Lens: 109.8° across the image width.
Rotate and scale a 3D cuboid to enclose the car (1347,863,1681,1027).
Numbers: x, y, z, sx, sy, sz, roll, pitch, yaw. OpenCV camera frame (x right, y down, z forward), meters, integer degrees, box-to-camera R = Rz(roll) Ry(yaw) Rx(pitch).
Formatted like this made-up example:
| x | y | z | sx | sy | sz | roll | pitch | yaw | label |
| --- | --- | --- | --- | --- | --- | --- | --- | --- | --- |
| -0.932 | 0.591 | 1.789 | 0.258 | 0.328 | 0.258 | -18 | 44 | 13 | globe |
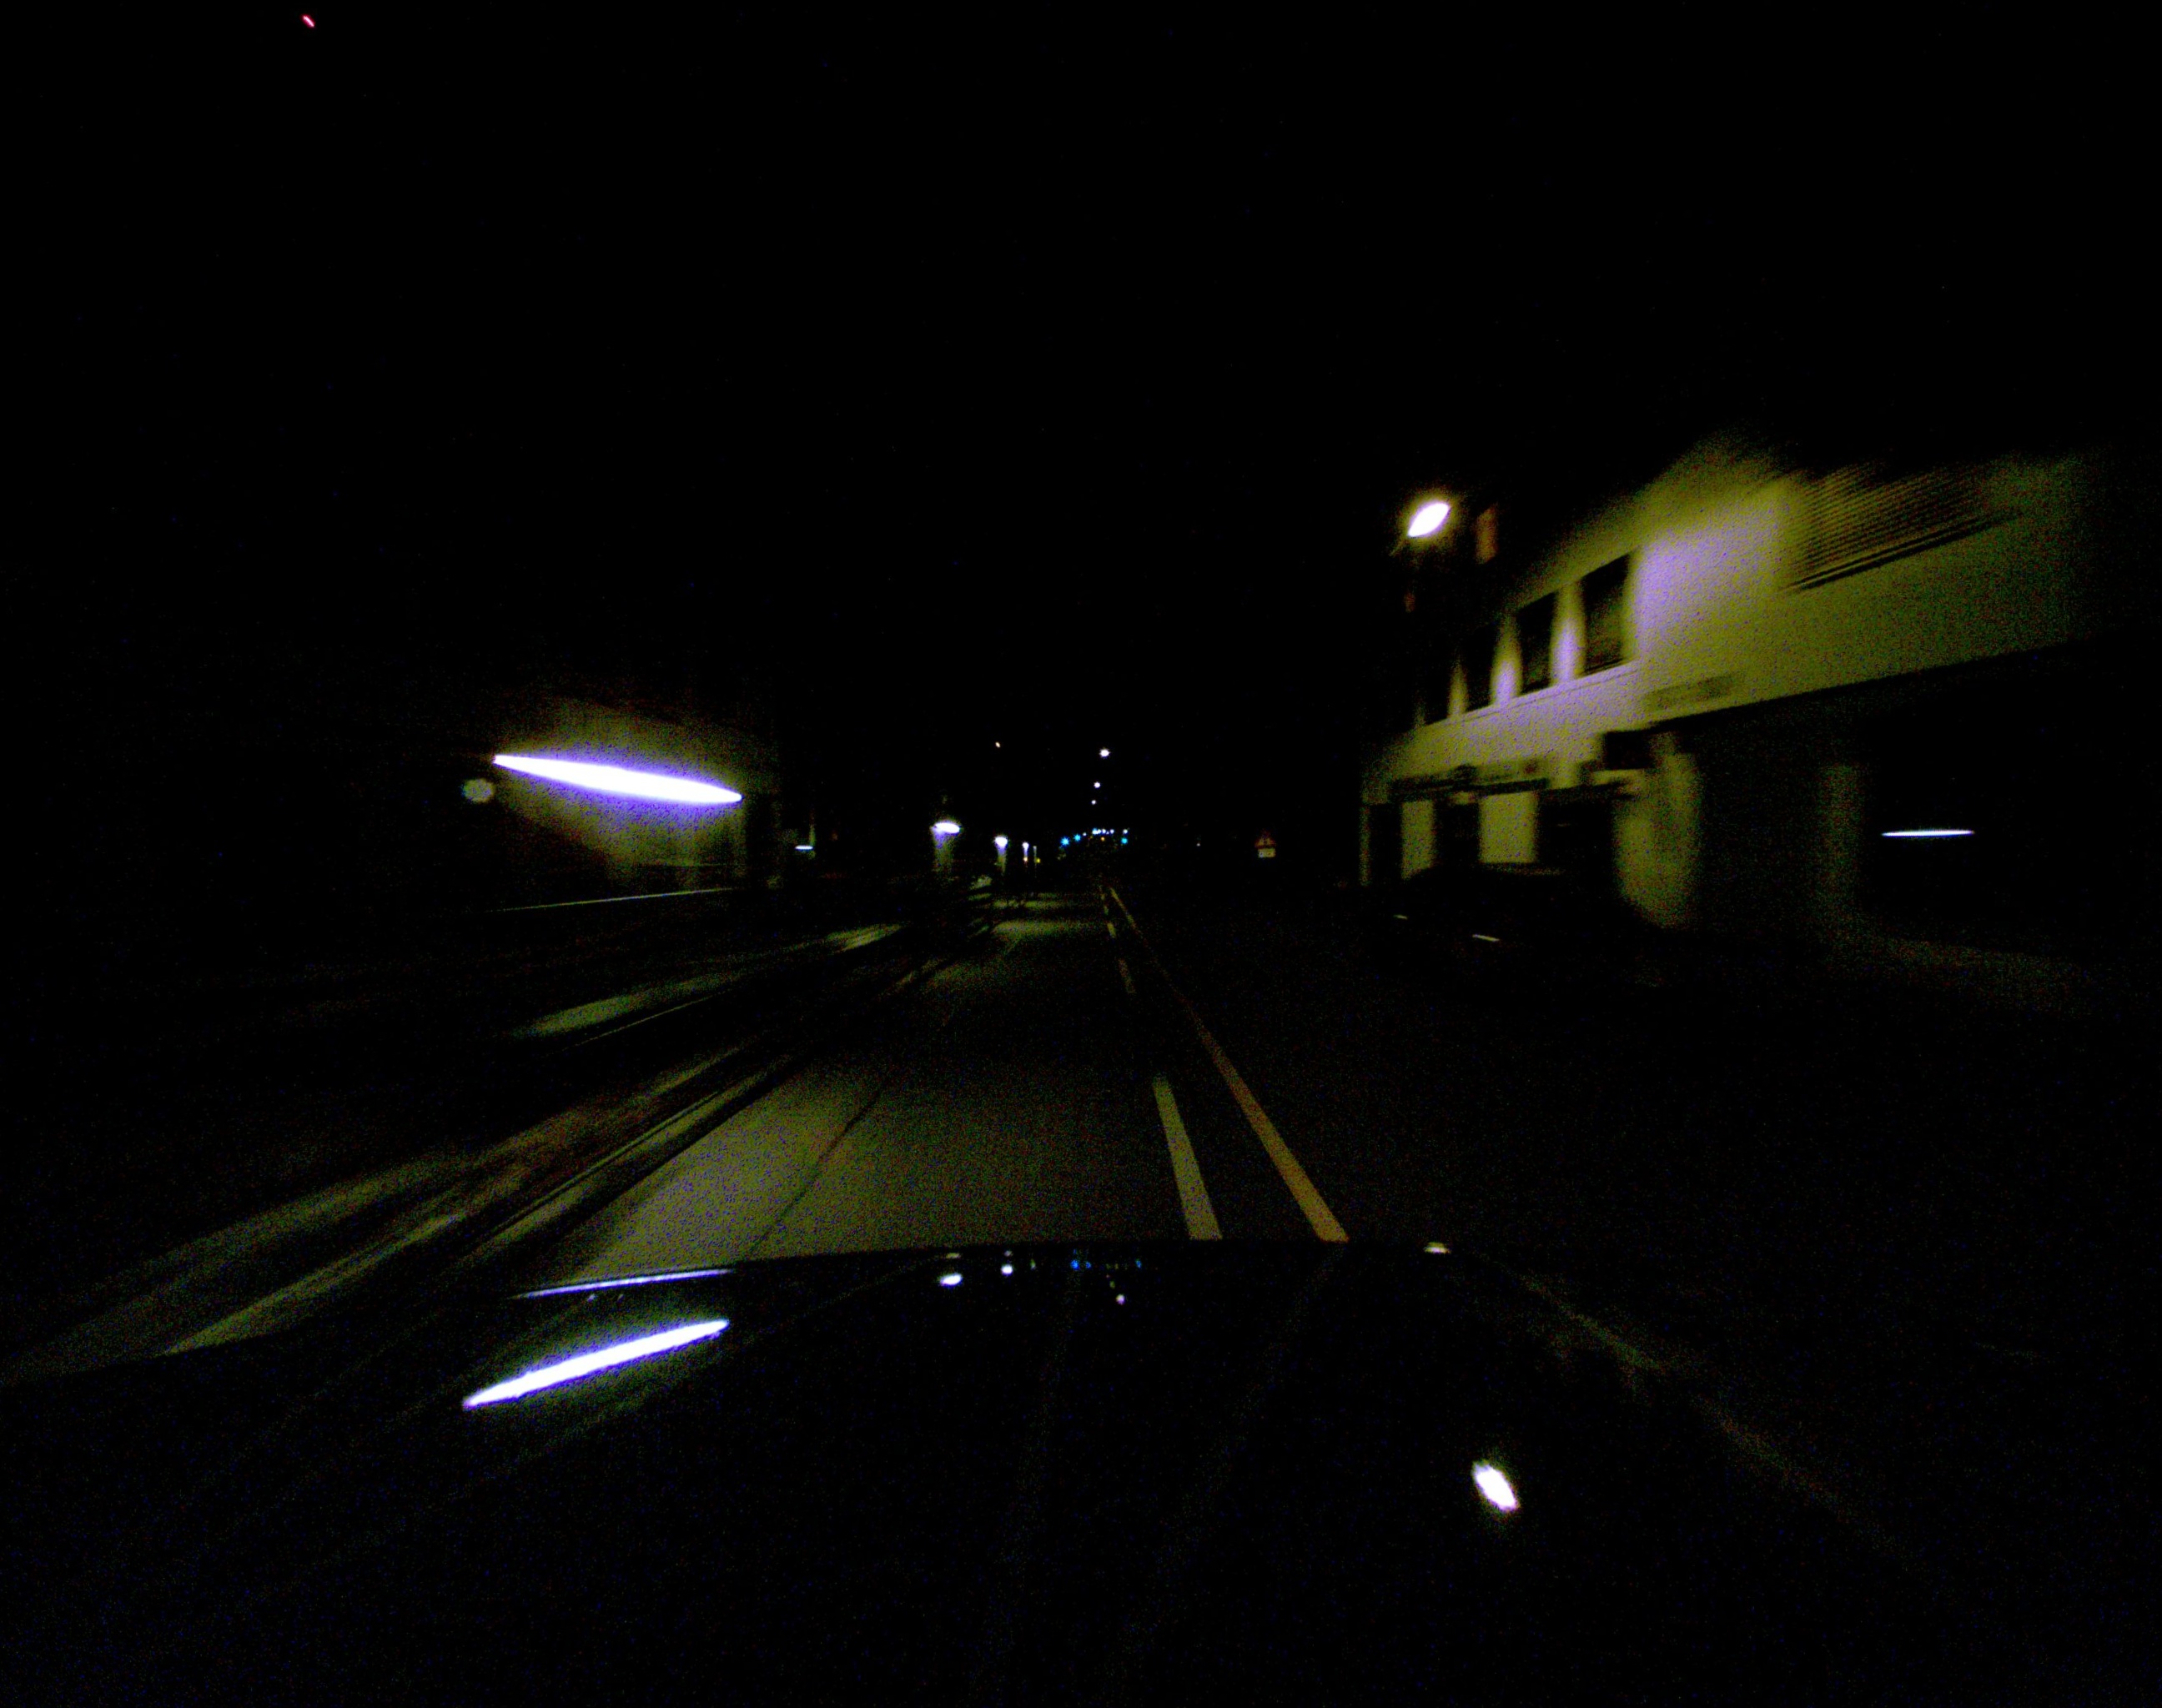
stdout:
| x | y | z | sx | sy | sz | roll | pitch | yaw | label |
| --- | --- | --- | --- | --- | --- | --- | --- | --- | --- |
| 4.993 | 0.922 | 9.579 | 1.731 | 1.477 | 4.291 | -2 | 0 | 0 | car |
